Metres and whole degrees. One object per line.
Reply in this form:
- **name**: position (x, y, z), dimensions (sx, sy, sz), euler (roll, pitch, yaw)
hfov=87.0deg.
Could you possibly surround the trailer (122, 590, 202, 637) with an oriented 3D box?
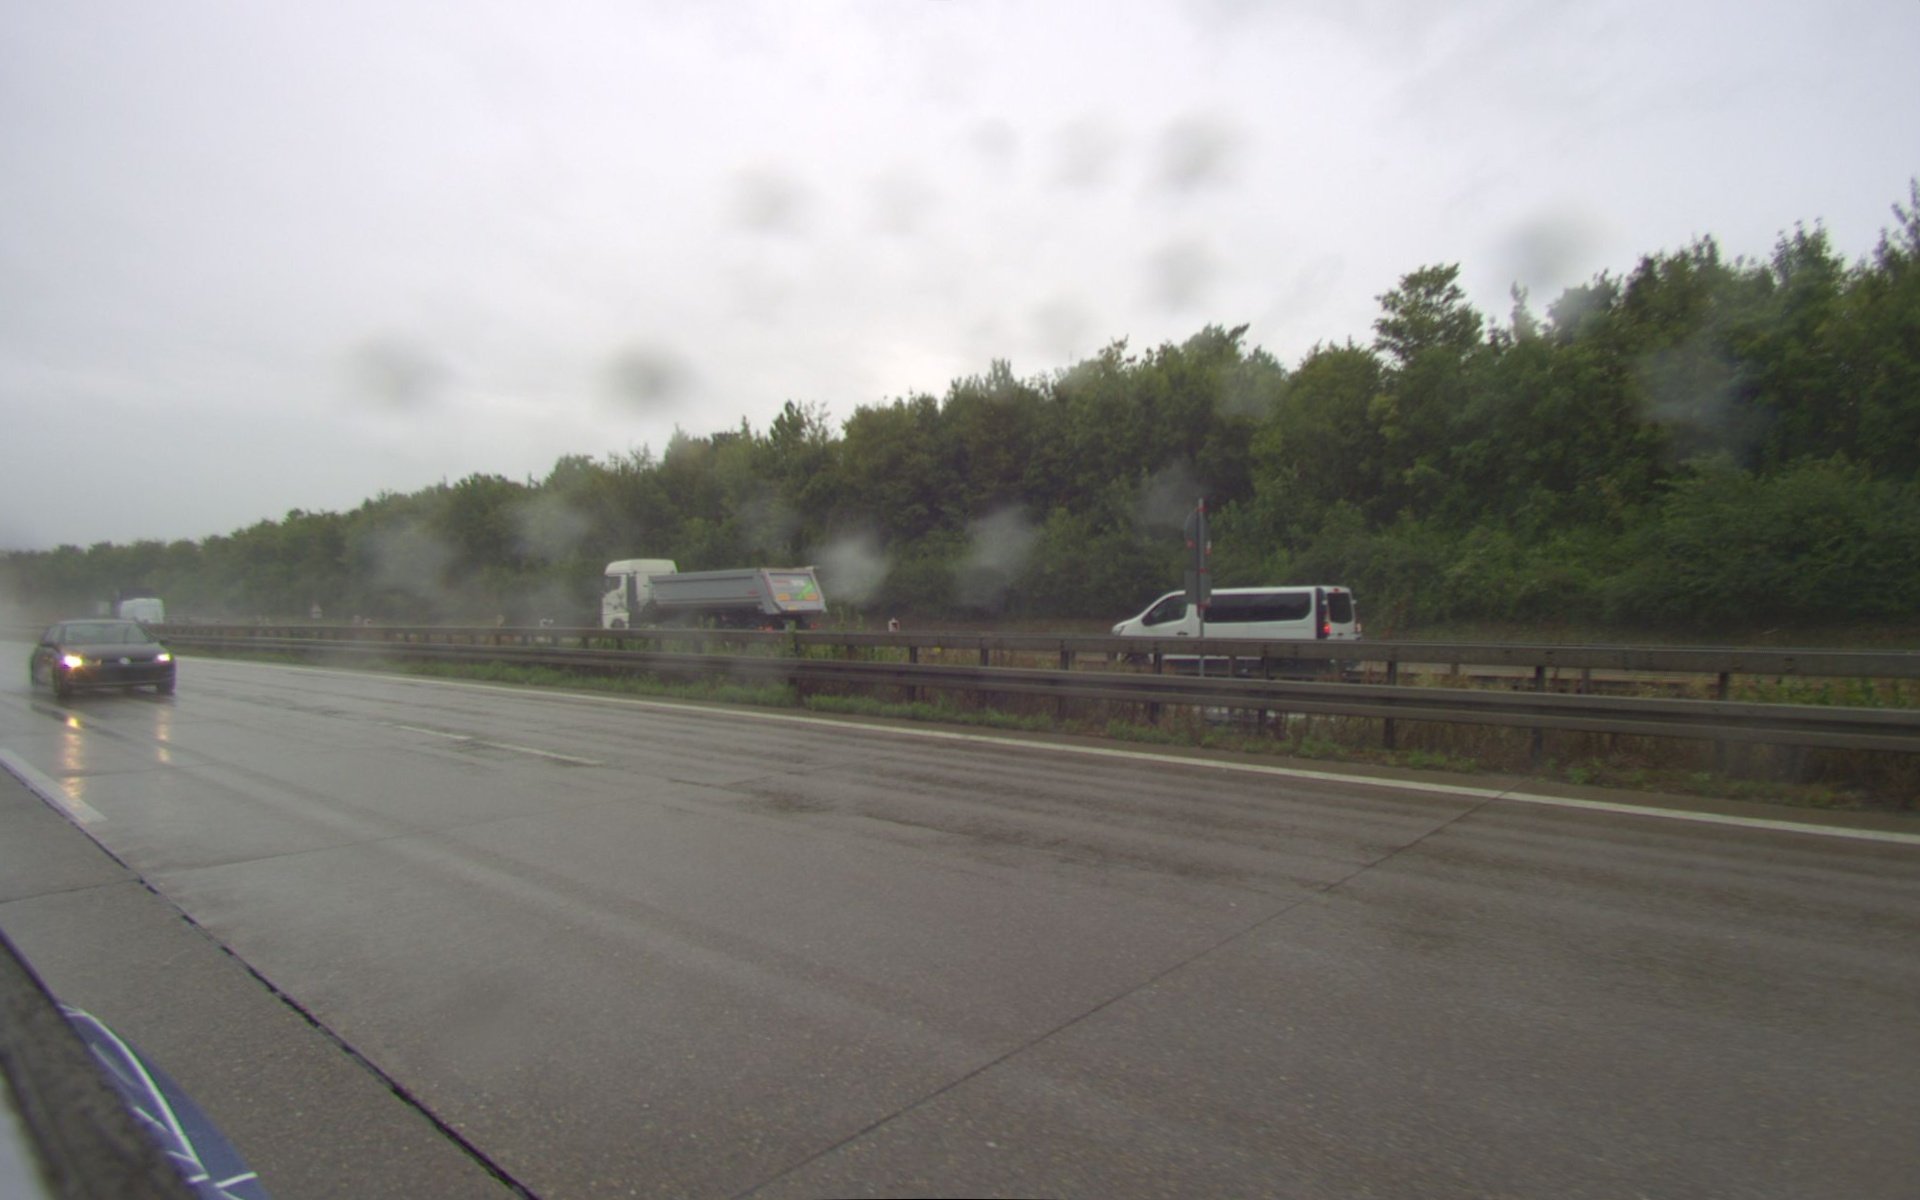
- **trailer**: position (-71.001, 1.206, 89.900), dimensions (12.861, 3.885, 3.104), euler (-1, 0, 41)

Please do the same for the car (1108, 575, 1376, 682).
- **car**: position (5.930, 0.552, 21.736), dimensions (5.196, 2.029, 1.957), euler (-1, 1, 41)

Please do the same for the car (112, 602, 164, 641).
- **car**: position (-66.157, 1.732, 81.408), dimensions (6.528, 2.922, 2.067), euler (-1, 0, 40)

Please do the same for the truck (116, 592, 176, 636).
- **truck**: position (-75.298, 1.271, 93.581), dimensions (6.881, 3.885, 3.104), euler (-1, 0, 41)

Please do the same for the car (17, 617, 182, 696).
- **car**: position (-16.946, 1.031, 19.865), dimensions (4.317, 1.398, 1.723), euler (-1, -2, 39)

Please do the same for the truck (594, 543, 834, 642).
- **truck**: position (-9.806, -0.180, 39.091), dimensions (11.508, 3.340, 2.746), euler (-1, 0, 41)
